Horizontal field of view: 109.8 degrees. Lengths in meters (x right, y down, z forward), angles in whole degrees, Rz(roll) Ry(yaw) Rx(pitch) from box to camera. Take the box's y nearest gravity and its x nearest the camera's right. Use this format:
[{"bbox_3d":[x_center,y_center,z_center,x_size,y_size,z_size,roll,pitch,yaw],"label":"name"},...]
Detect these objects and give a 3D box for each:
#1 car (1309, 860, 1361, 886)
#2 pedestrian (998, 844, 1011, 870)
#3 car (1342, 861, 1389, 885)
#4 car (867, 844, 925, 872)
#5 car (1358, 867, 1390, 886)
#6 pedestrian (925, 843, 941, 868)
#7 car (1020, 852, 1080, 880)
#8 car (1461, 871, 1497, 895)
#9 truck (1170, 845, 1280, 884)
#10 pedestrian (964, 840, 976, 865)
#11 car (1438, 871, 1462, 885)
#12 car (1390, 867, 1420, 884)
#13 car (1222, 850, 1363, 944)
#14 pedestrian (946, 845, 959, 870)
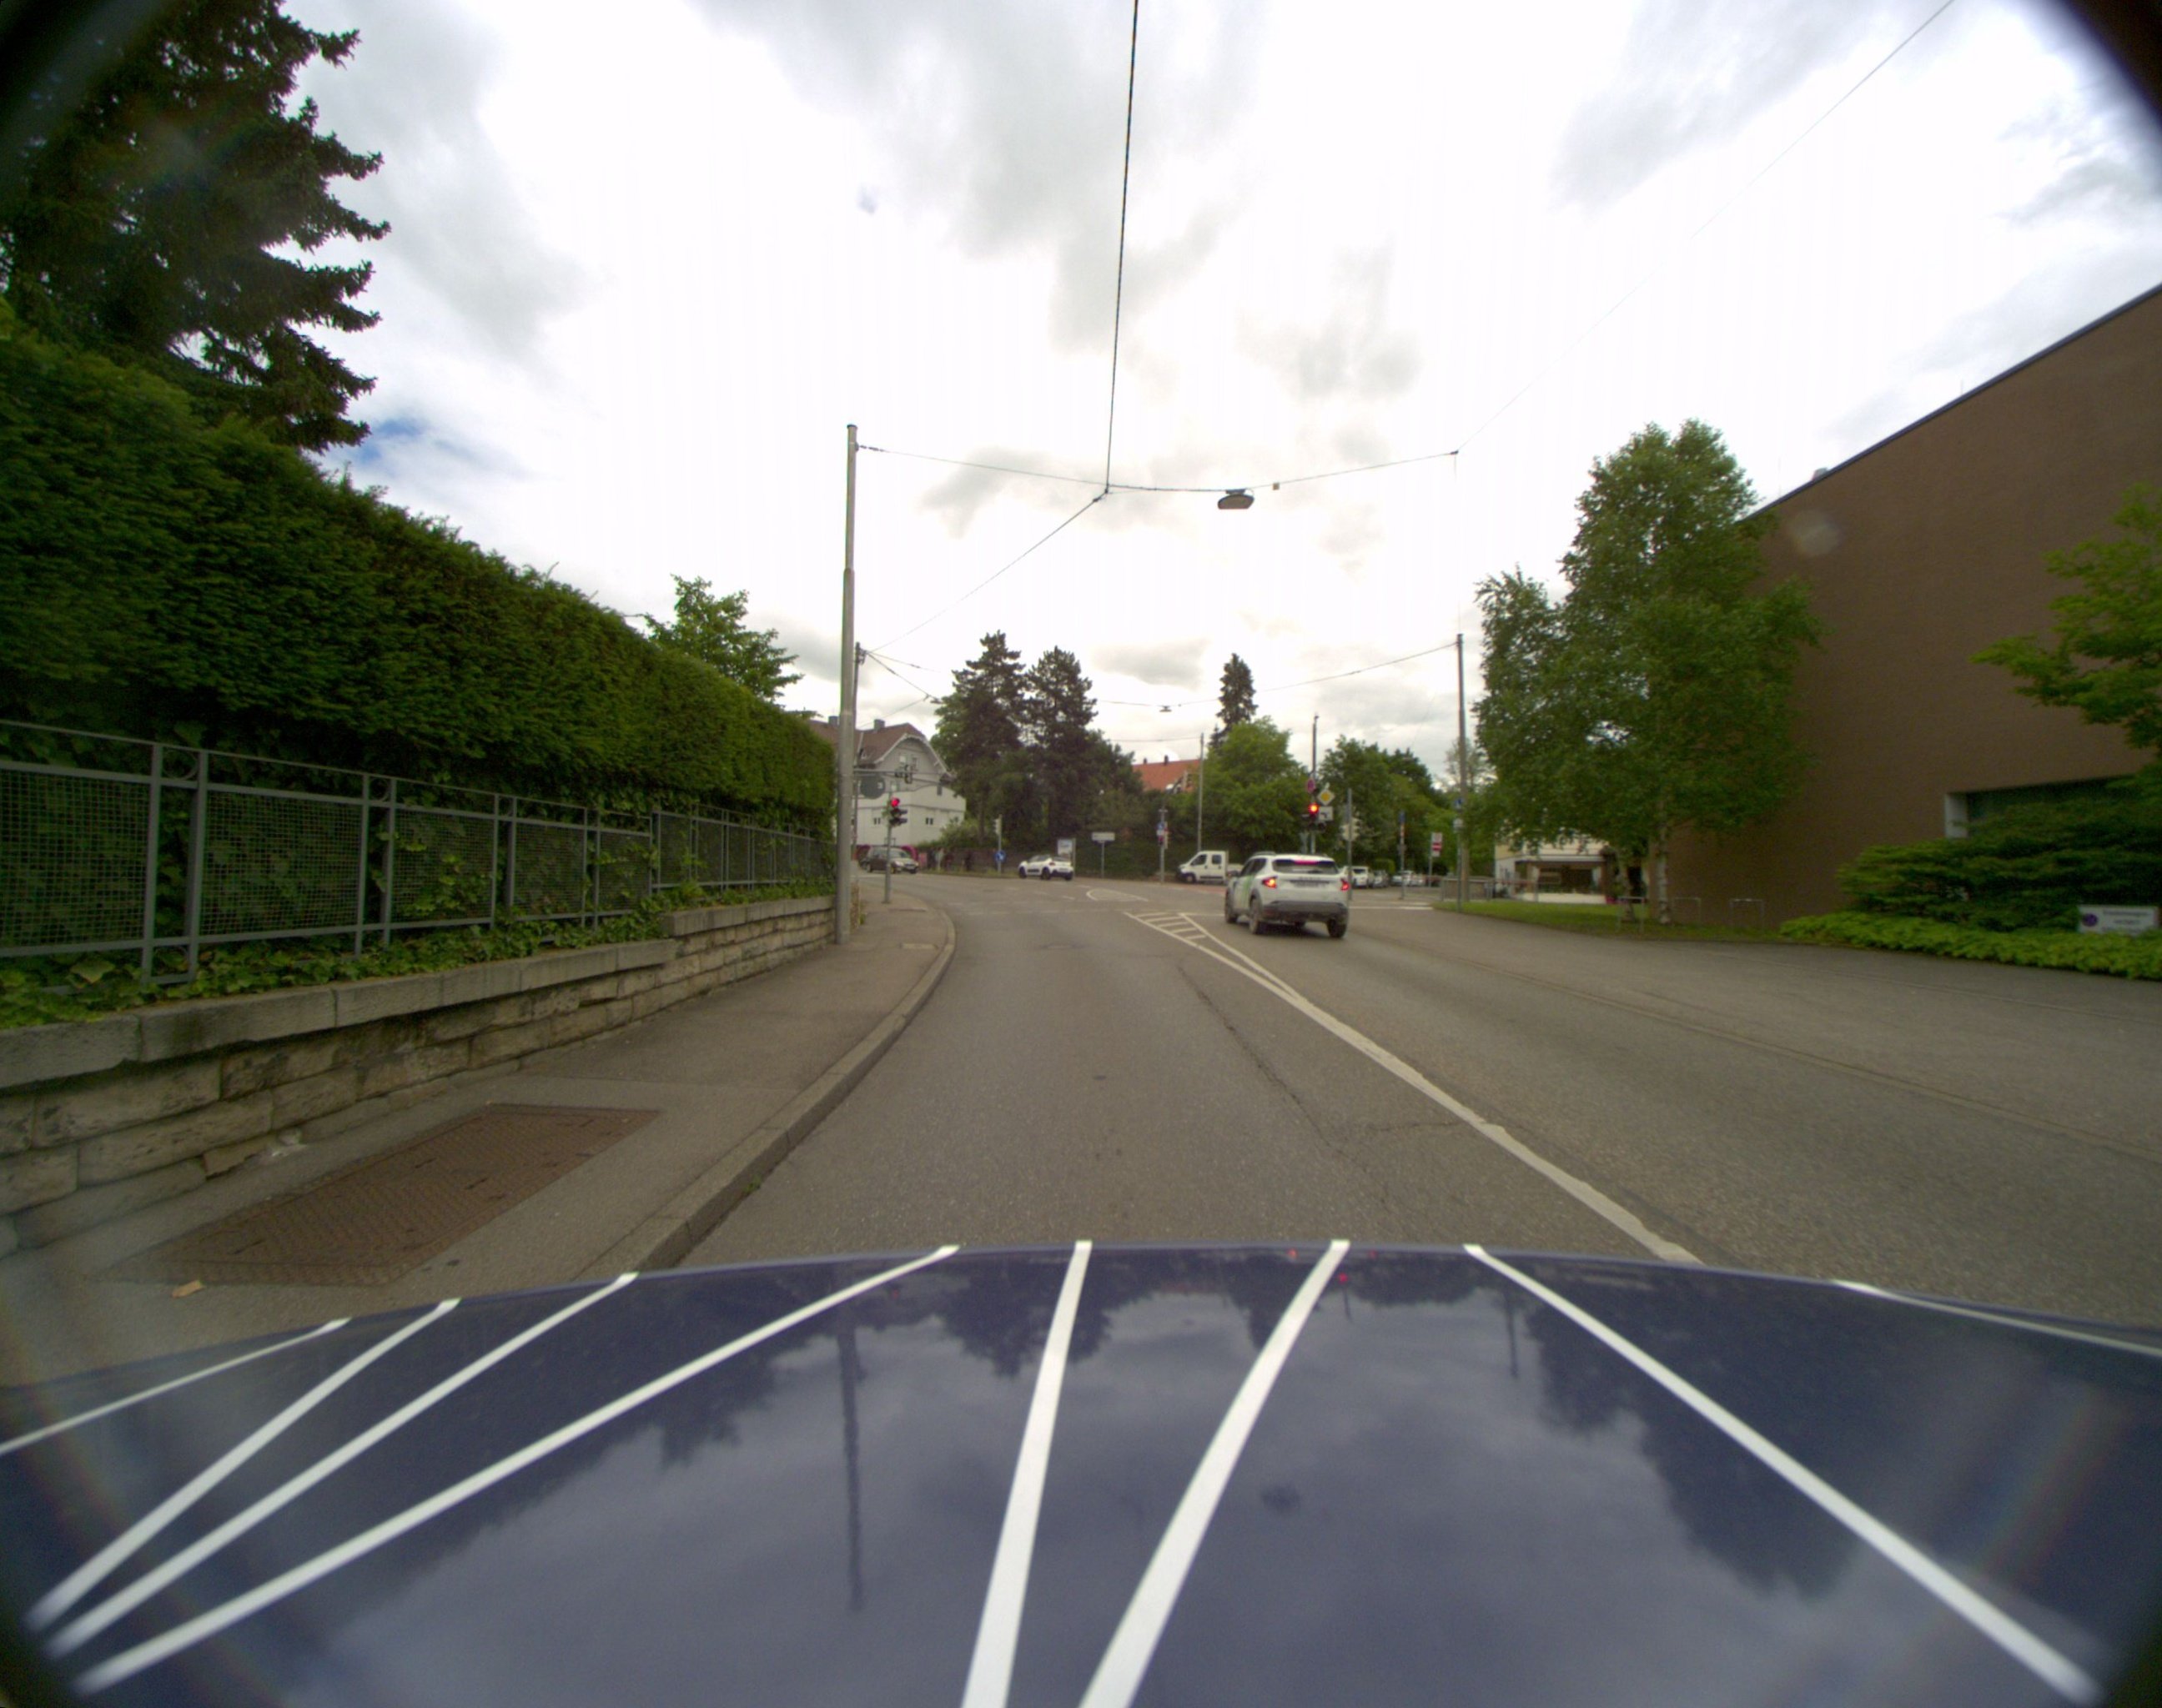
[{"bbox_3d":[17.218,1.297,51.432,1.994,1.603,4.009,2,0,39],"label":"car"},{"bbox_3d":[-5.505,0.202,54.677,0.611,1.824,0.680,2,0,27],"label":"pedestrian"},{"bbox_3d":[20.894,1.405,55.693,1.994,1.603,4.009,2,0,39],"label":"car"},{"bbox_3d":[-11.241,0.240,46.014,1.622,1.571,3.989,0,2,-44],"label":"car"},{"bbox_3d":[23.568,1.783,61.016,1.867,1.445,3.738,1,0,30],"label":"car"},{"bbox_3d":[-10.865,0.125,55.831,0.686,1.803,0.882,2,1,29],"label":"pedestrian"},{"bbox_3d":[-1.822,0.657,44.139,1.704,1.432,3.746,1,2,-34],"label":"car"},{"bbox_3d":[25.711,1.840,49.186,1.876,1.440,4.008,2,0,26],"label":"car"},{"bbox_3d":[9.295,0.649,49.069,6.706,2.176,2.532,2,1,12],"label":"truck"},{"bbox_3d":[-8.208,-0.087,56.109,0.611,1.824,0.605,2,0,27],"label":"pedestrian"},{"bbox_3d":[43.178,2.797,88.892,1.866,1.577,3.739,2,0,36],"label":"car"},{"bbox_3d":[31.463,2.054,73.779,1.866,1.577,3.739,2,0,36],"label":"car"},{"bbox_3d":[4.276,0.774,16.100,1.773,1.628,4.301,3,0,1],"label":"car"},{"bbox_3d":[-9.388,0.239,55.533,0.665,1.777,0.614,2,0,28],"label":"pedestrian"}]
